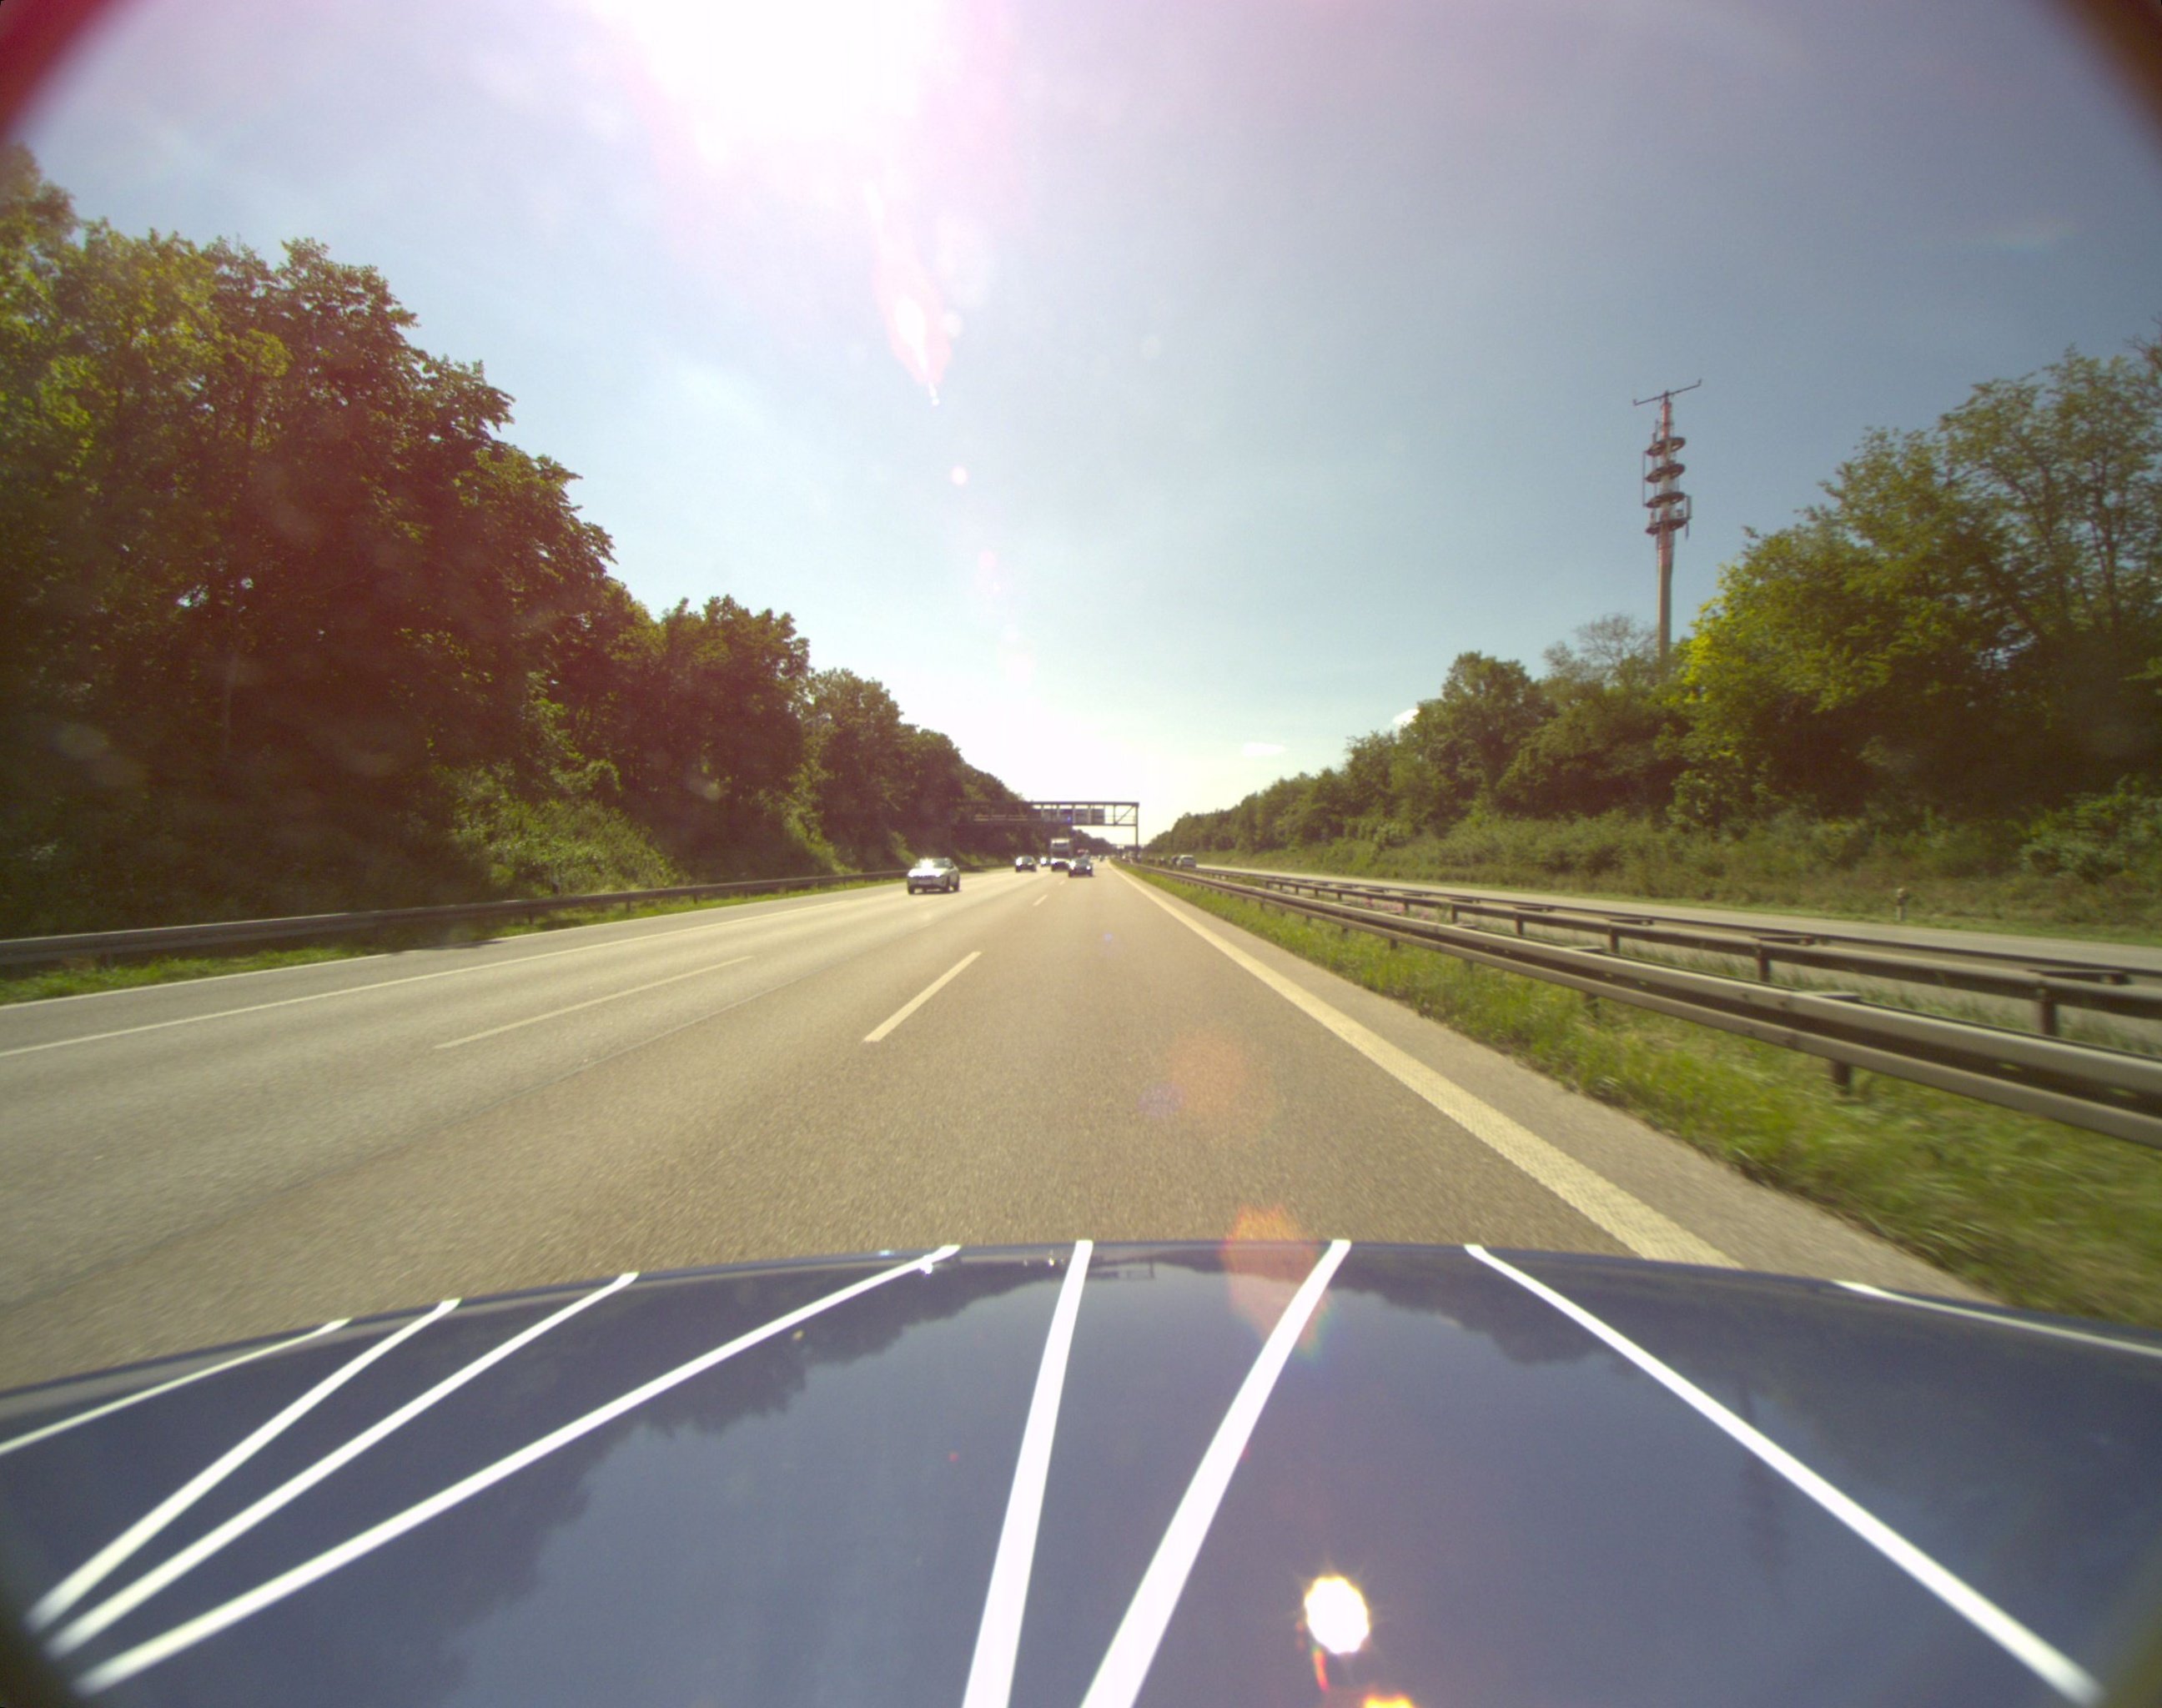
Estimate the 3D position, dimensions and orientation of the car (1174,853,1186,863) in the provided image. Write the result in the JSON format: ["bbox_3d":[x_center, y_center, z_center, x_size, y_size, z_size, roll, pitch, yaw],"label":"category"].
[{"bbox_3d":[16.608,0.634,127.491,1.661,1.607,3.914,2,0,2],"label":"car"}]

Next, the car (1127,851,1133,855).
[{"bbox_3d":[17.066,-0.351,265.873,1.811,1.632,4.800,2,0,1],"label":"car"}]

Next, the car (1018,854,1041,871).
[{"bbox_3d":[-5.499,0.867,81.774,1.924,1.659,4.687,-2,0,3],"label":"car"}]

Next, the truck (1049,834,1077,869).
[{"bbox_3d":[-1.911,-0.250,81.472,2.676,3.661,6.484,0,0,1],"label":"truck"}]

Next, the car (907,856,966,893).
[{"bbox_3d":[-6.793,0.936,36.045,1.848,1.559,4.036,-2,0,2],"label":"car"}]

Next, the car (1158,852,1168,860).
[{"bbox_3d":[16.773,0.359,155.164,1.661,1.469,4.320,2,0,1],"label":"car"}]

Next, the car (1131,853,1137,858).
[{"bbox_3d":[16.529,0.477,236.726,1.766,1.608,4.231,0,0,1],"label":"car"}]

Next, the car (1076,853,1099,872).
[{"bbox_3d":[0.532,0.685,61.308,1.814,1.483,3.729,0,0,1],"label":"car"}]

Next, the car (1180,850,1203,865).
[{"bbox_3d":[11.880,0.346,81.919,1.816,1.607,3.913,2,0,1],"label":"car"}]

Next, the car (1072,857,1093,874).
[{"bbox_3d":[0.132,0.840,57.113,1.537,1.265,2.770,0,0,1],"label":"car"}]

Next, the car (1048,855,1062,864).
[{"bbox_3d":[-4.110,0.886,119.041,1.916,1.390,4.138,0,0,1],"label":"car"}]

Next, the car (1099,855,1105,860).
[{"bbox_3d":[5.596,0.818,198.837,1.591,1.291,3.383,0,0,2],"label":"car"}]
